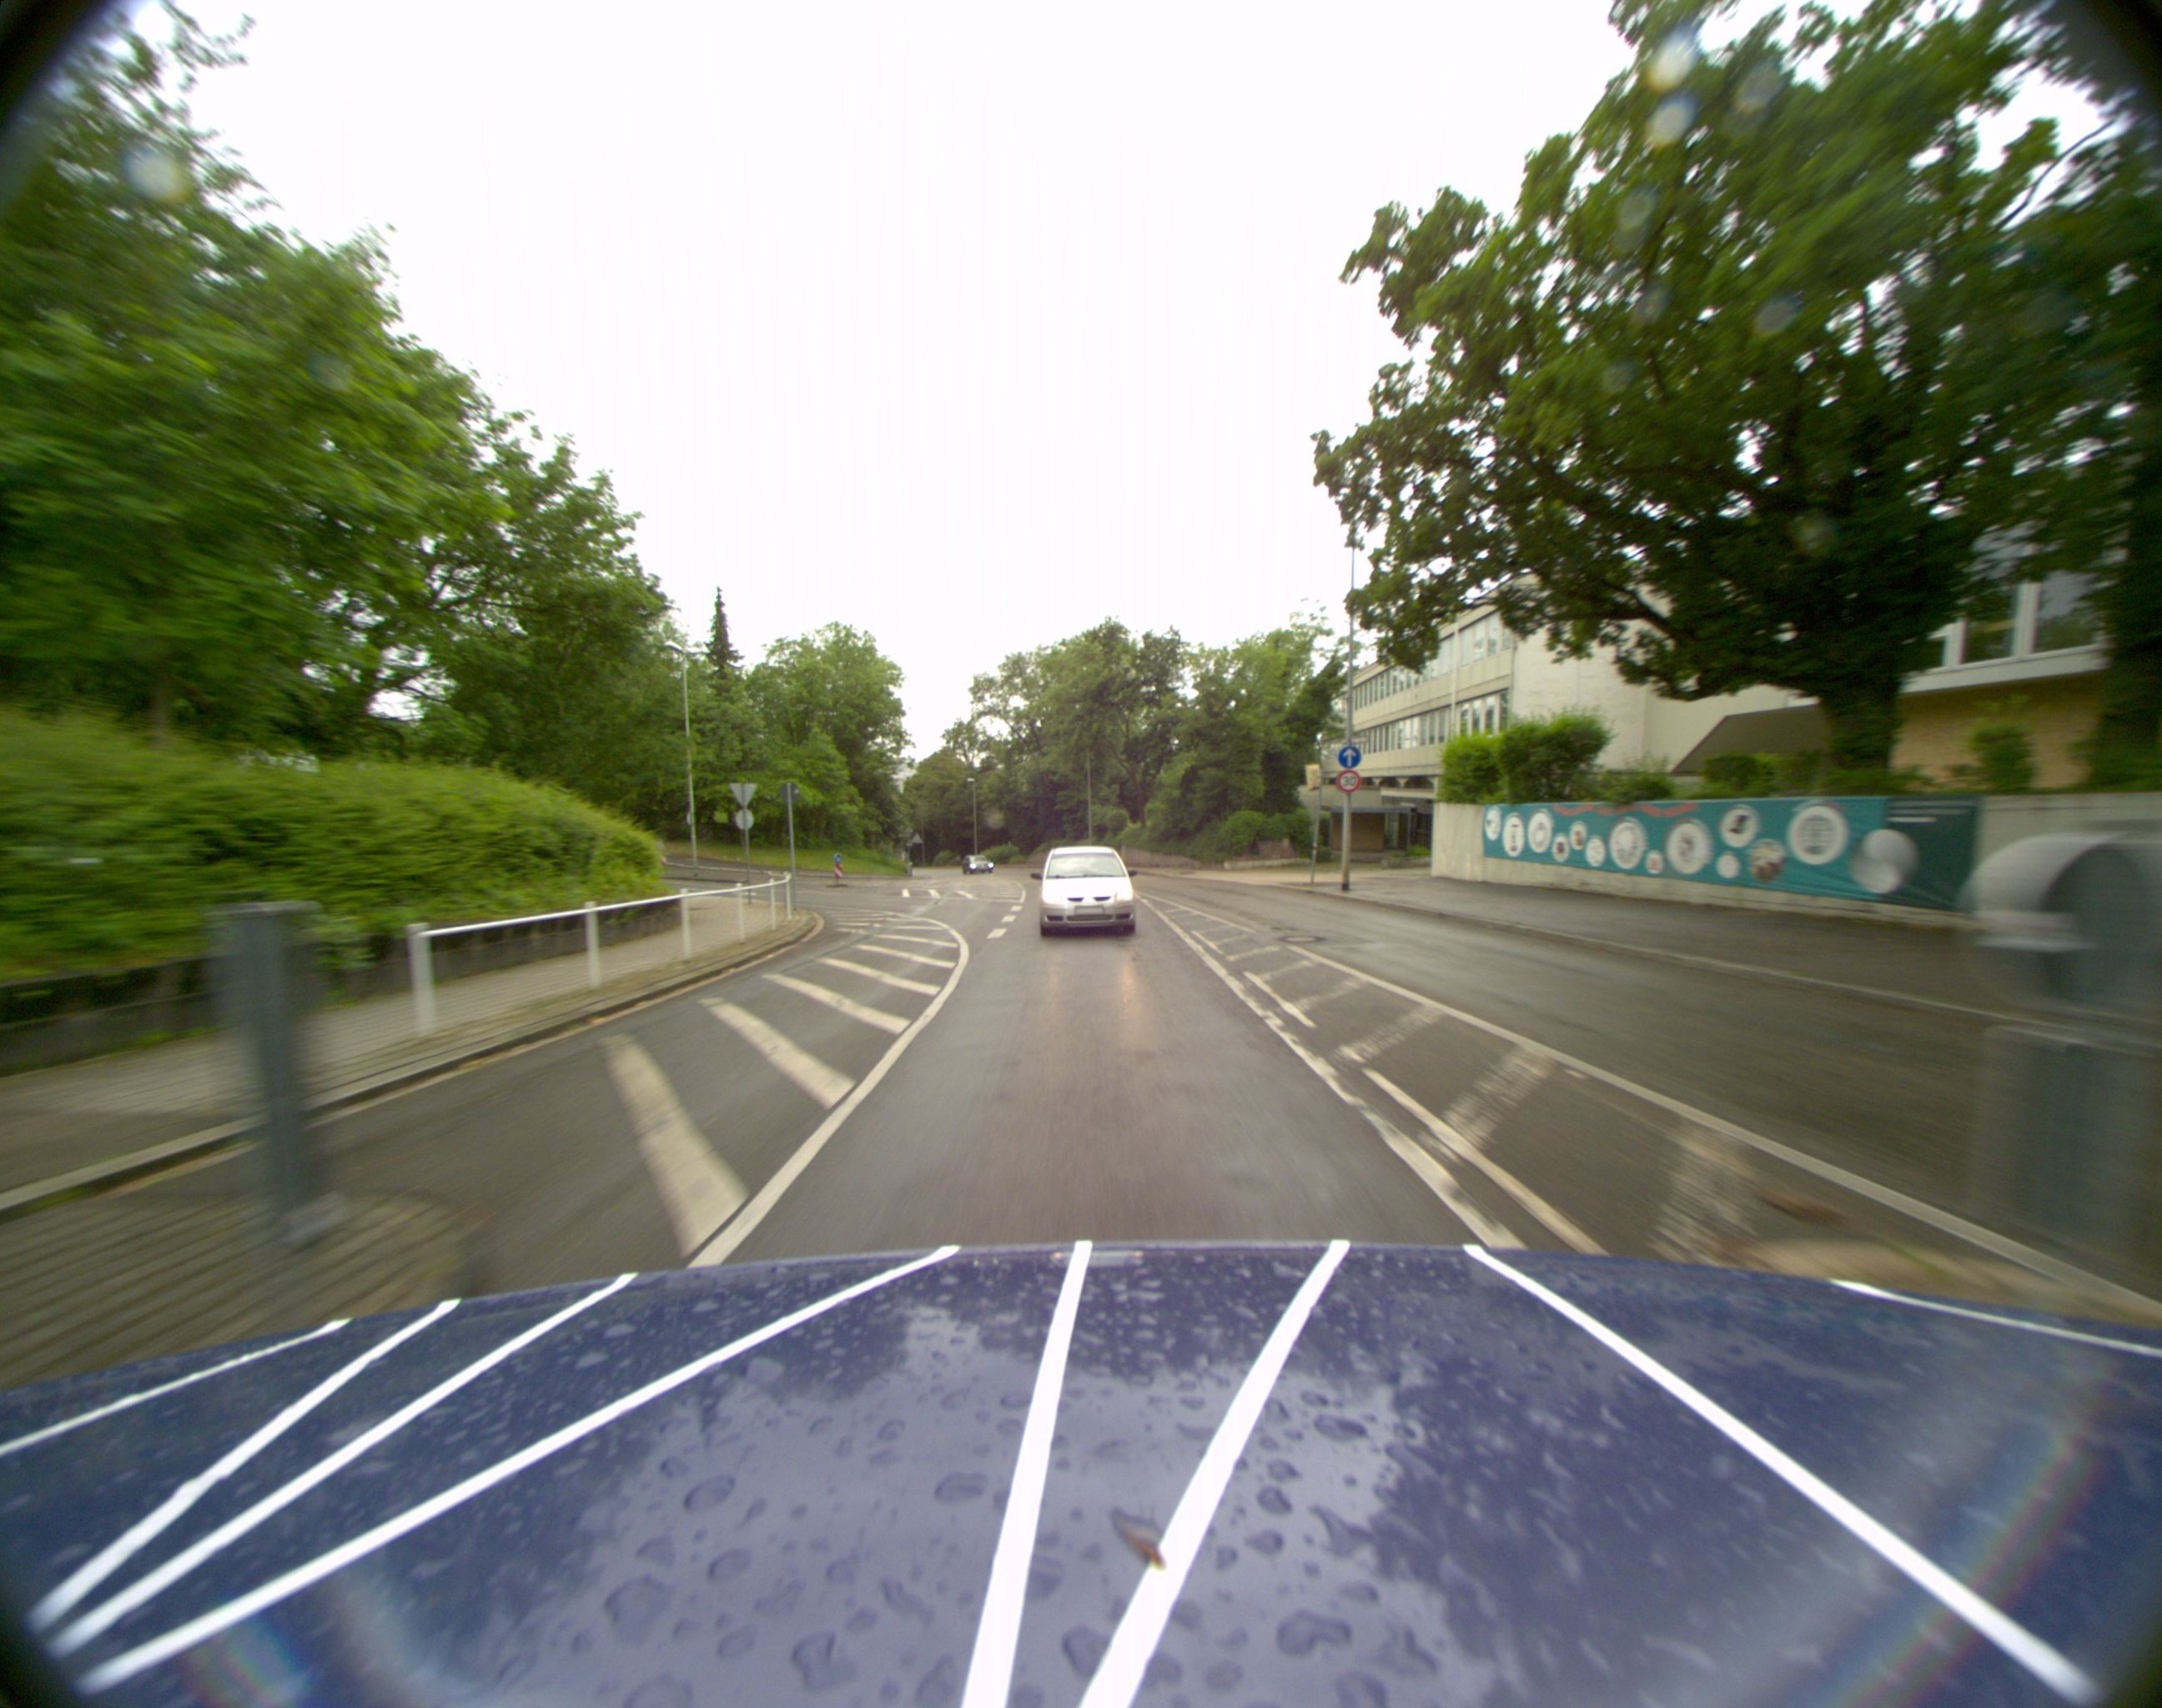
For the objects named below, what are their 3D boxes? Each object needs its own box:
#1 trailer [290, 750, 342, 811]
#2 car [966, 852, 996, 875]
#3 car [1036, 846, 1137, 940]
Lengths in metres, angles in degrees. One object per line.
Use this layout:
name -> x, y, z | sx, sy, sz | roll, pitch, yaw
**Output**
trailer -> -51.655, -5.039, 51.284 | 7.997, 3.285, 2.283 | 12, 9, 44
car -> -8.046, 0.740, 60.912 | 2.037, 1.691, 3.996 | -2, 1, -11
car -> 0.032, 0.628, 14.582 | 1.640, 1.496, 3.998 | -1, 1, -2
